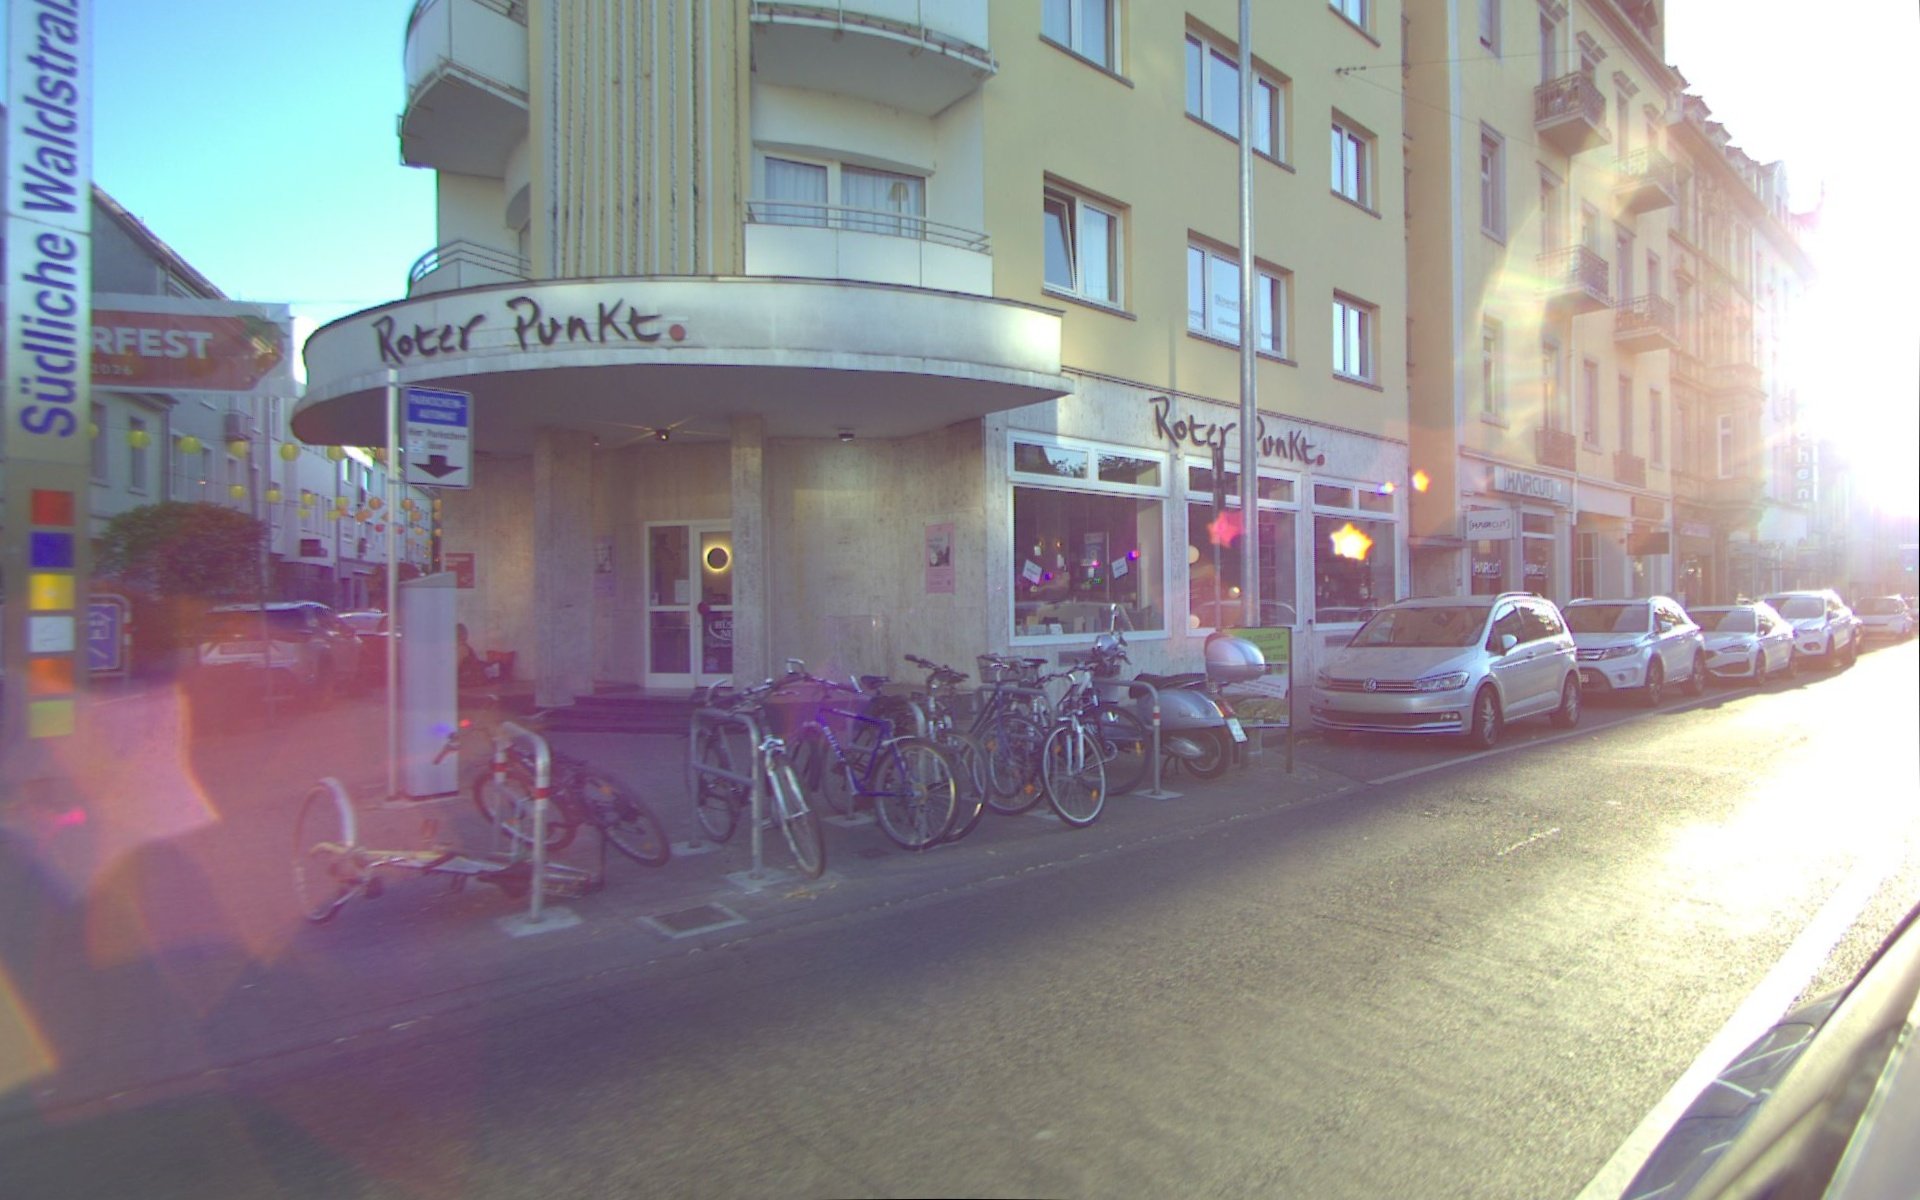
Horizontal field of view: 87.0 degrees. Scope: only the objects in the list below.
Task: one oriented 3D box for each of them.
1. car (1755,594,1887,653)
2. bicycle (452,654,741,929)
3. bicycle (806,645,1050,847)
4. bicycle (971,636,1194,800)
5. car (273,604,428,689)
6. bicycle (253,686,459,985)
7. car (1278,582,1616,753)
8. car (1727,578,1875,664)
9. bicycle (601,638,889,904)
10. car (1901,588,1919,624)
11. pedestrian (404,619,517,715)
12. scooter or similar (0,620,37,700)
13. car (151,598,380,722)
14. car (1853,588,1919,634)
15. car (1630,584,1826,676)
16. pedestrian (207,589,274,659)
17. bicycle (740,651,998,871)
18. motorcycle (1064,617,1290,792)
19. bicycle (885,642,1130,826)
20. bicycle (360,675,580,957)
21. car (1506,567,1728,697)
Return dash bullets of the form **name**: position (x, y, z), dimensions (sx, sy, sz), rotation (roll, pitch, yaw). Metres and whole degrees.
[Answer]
- **car**: position (23.286, 0.582, 27.320), dimensions (4.765, 1.452, 1.997), rotation (0, -1, -41)
- **bicycle**: position (-1.991, 0.887, 5.374), dimensions (0.749, 1.127, 1.885), rotation (0, -1, -44)
- **bicycle**: position (-0.277, 0.892, 6.786), dimensions (0.512, 1.127, 1.885), rotation (0, -1, -43)
- **bicycle**: position (0.952, 0.896, 8.302), dimensions (0.583, 1.126, 1.886), rotation (1, 0, -43)
- **car**: position (-11.970, 0.840, 20.168), dimensions (1.908, 1.475, 4.008), rotation (0, 0, -20)
- **bicycle**: position (-2.763, 0.953, 4.566), dimensions (0.504, 1.028, 1.501), rotation (0, -1, -43)
- **car**: position (5.905, 0.633, 11.979), dimensions (4.722, 1.633, 1.996), rotation (-1, 0, -43)
- **car**: position (19.092, 0.483, 22.910), dimensions (4.577, 1.767, 1.885), rotation (1, -2, -41)
- **bicycle**: position (-1.273, 0.838, 5.700), dimensions (0.711, 1.182, 1.885), rotation (0, 0, -44)
- **car**: position (43.868, 0.307, 45.448), dimensions (4.601, 1.555, 1.996), rotation (1, -2, -42)
- **pedestrian**: position (-6.602, 0.851, 13.402), dimensions (0.727, 1.189, 1.164), rotation (-1, -1, 42)
- **scooter or similar**: position (-17.079, 1.035, 17.258), dimensions (1.396, 1.343, 1.477), rotation (-1, 0, -8)
- **car**: position (-10.195, 0.785, 15.219), dimensions (1.888, 1.589, 4.008), rotation (0, 0, -20)
- **car**: position (34.038, 0.414, 36.890), dimensions (3.929, 1.605, 1.703), rotation (1, -1, -41)
- **car**: position (14.811, 0.560, 19.425), dimensions (4.783, 1.563, 2.019), rotation (1, -2, -41)
- **pedestrian**: position (-18.812, 0.615, 26.491), dimensions (1.118, 1.785, 1.161), rotation (-1, 0, -16)
- **bicycle**: position (-0.640, 0.918, 6.396), dimensions (0.592, 1.127, 1.885), rotation (0, -1, -43)
- **motorcycle**: position (1.797, 0.811, 8.618), dimensions (0.704, 1.279, 1.814), rotation (0, 0, -43)
- **bicycle**: position (0.289, 0.898, 7.389), dimensions (0.583, 1.126, 1.885), rotation (-2, 0, -43)
- **bicycle**: position (-2.407, 0.946, 4.888), dimensions (0.504, 1.039, 1.501), rotation (0, 0, -44)
- **car**: position (10.541, 0.489, 16.111), dimensions (4.331, 1.785, 1.870), rotation (1, -2, -41)
